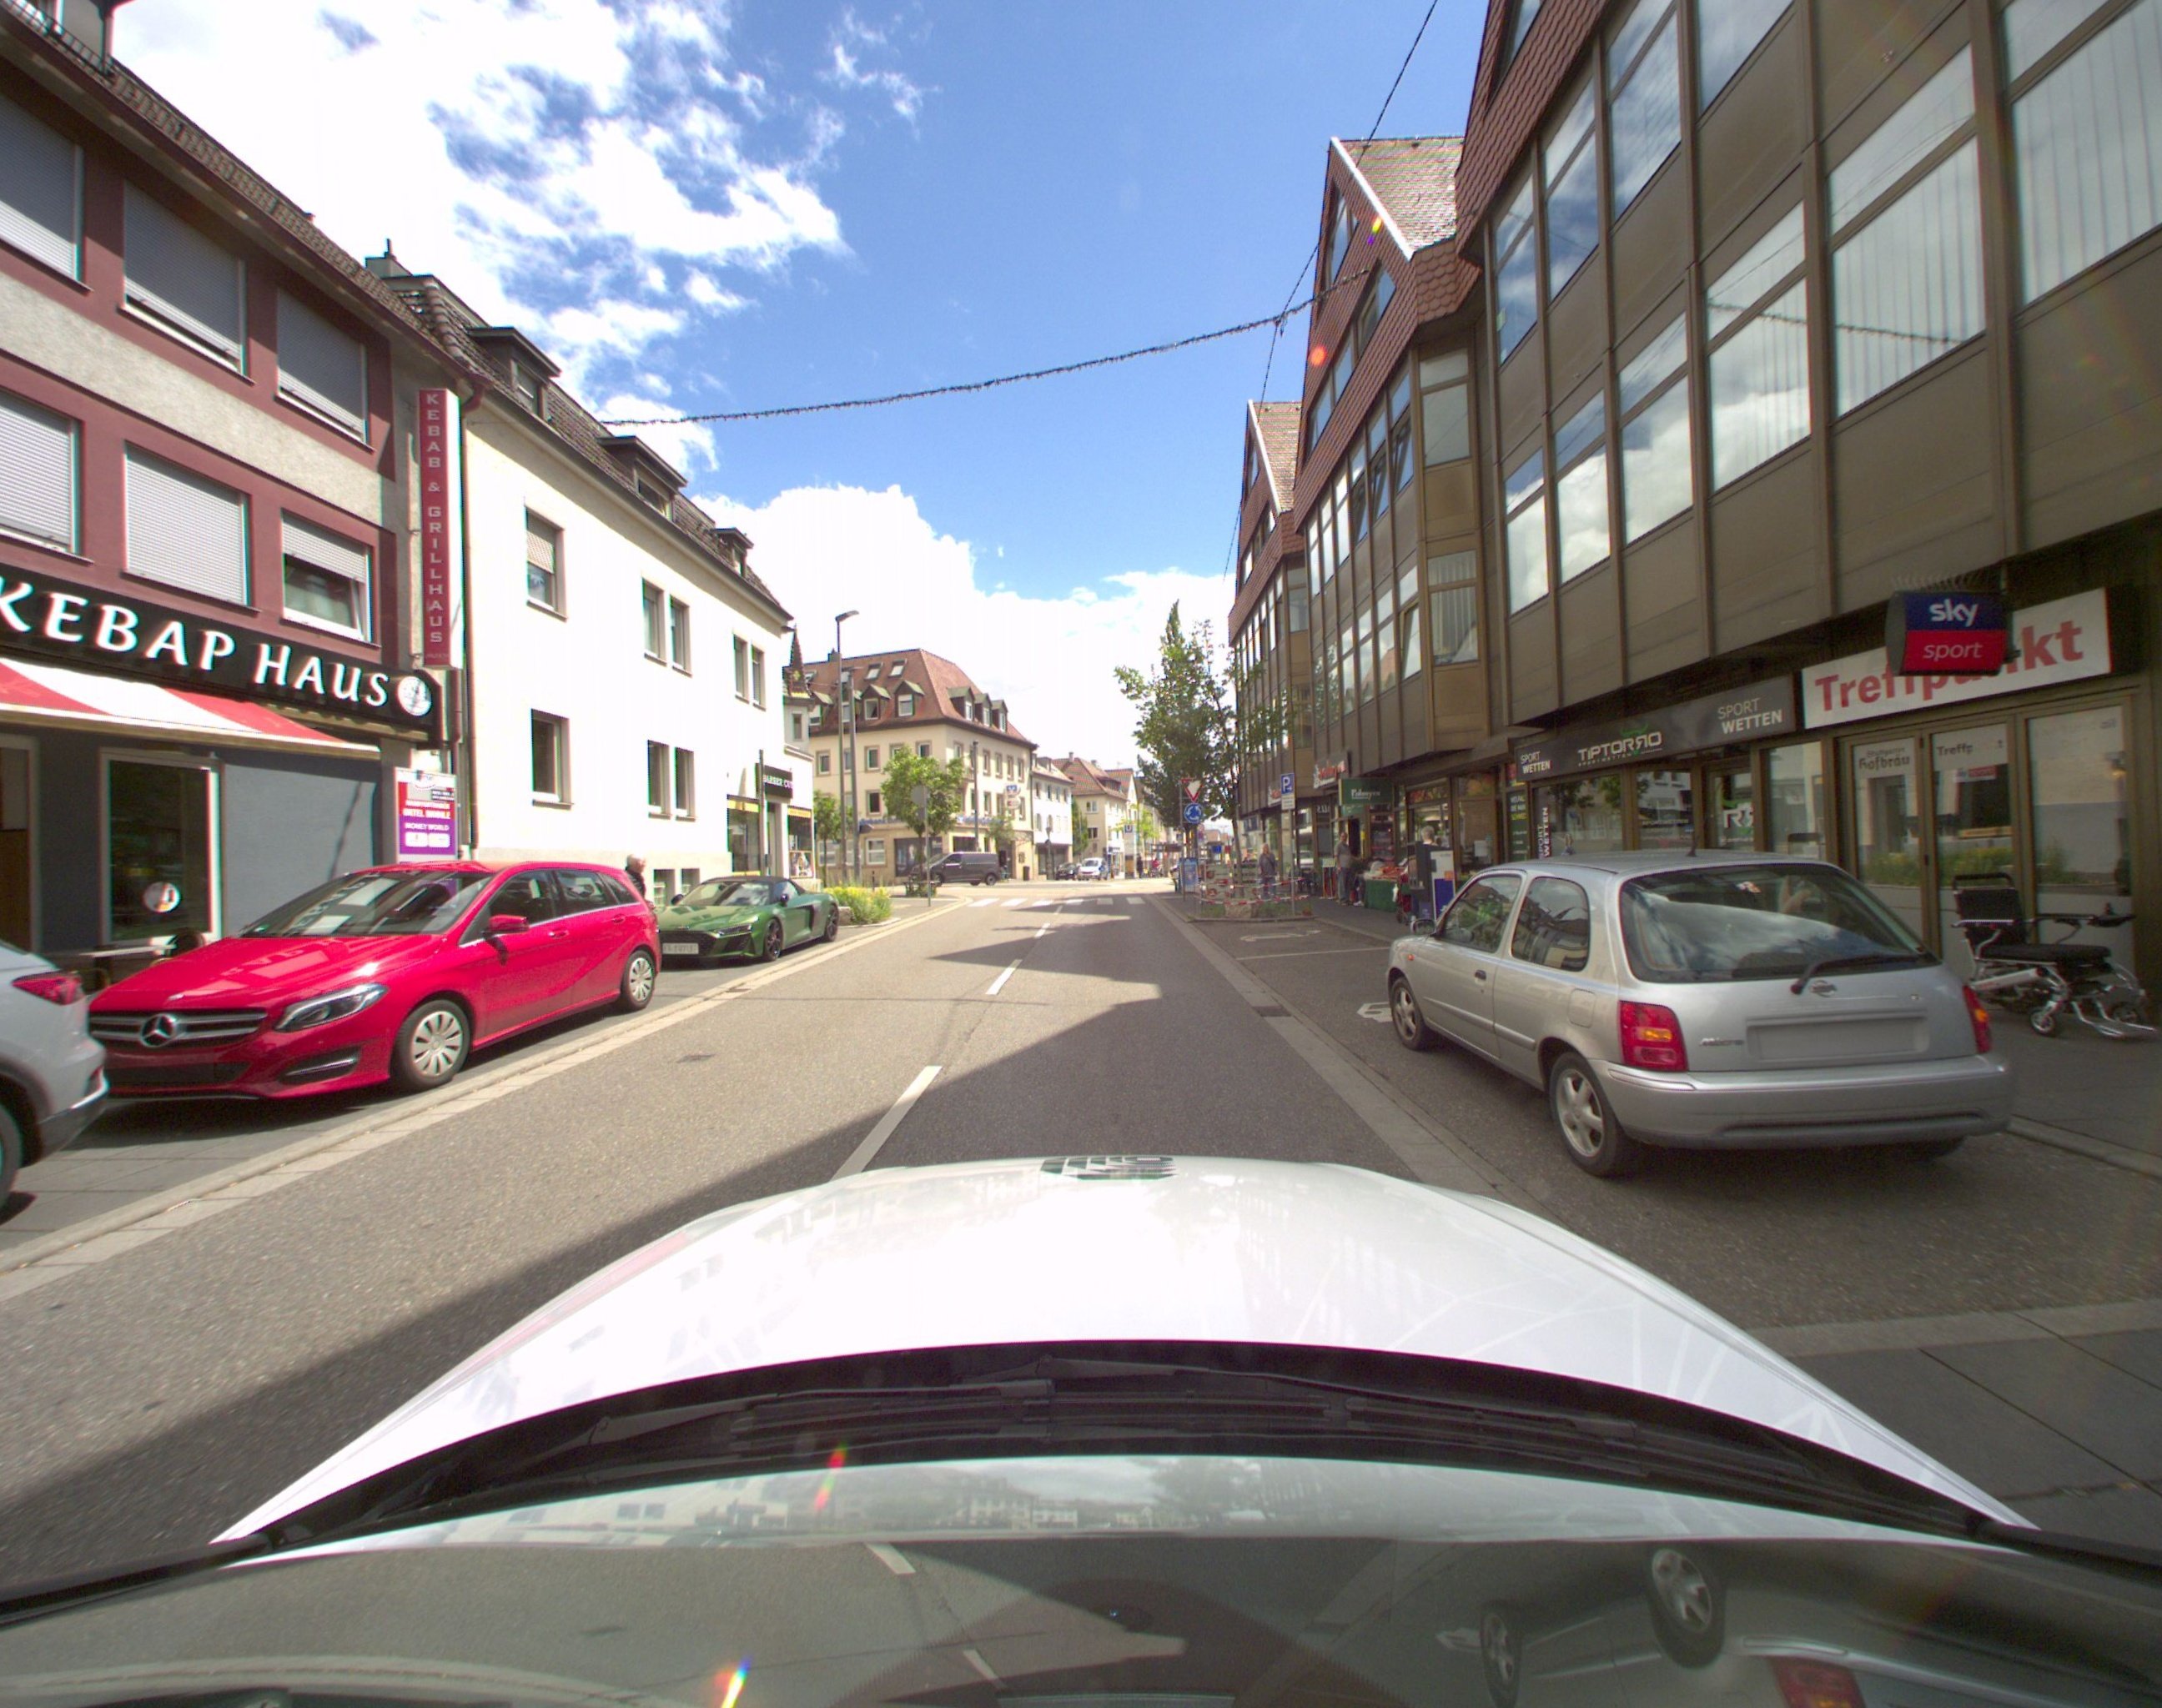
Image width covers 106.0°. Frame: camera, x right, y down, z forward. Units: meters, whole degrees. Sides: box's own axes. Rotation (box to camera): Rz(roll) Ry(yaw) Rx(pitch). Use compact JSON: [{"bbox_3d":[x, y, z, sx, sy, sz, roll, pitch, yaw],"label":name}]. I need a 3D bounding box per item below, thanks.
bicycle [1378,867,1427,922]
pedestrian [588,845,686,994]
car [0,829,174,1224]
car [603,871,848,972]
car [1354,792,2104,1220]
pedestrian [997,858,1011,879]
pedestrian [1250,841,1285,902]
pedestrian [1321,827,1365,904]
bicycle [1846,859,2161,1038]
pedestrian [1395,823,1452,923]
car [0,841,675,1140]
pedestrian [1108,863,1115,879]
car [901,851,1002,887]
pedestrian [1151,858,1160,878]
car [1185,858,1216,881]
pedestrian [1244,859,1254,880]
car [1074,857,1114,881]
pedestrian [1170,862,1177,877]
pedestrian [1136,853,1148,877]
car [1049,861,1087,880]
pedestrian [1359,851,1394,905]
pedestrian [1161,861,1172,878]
[{"bbox_3d":[5.832,0.723,14.797,0.604,0.979,0.555,0,-1,-22],"label":"bicycle"},{"bbox_3d":[-5.132,0.736,9.461,0.683,1.648,0.780,-1,-1,3],"label":"pedestrian"},{"bbox_3d":[-5.290,0.731,1.741,1.794,1.604,4.350,-2,0,-1],"label":"car"},{"bbox_3d":[-5.326,0.940,12.971,1.812,1.223,4.525,0,0,1],"label":"car"},{"bbox_3d":[3.082,0.581,4.992,1.603,1.495,3.798,-5,0,3],"label":"car"},{"bbox_3d":[-5.599,1.056,59.381,0.620,1.532,0.864,-1,-1,25],"label":"pedestrian"},{"bbox_3d":[5.051,0.471,22.089,0.781,1.615,0.800,-1,-1,1],"label":"pedestrian"},{"bbox_3d":[6.517,0.284,20.278,0.734,1.814,0.712,-4,-1,1],"label":"pedestrian"},{"bbox_3d":[6.250,0.565,5.538,0.717,1.047,1.477,-1,-1,2],"label":"bicycle"},{"bbox_3d":[6.010,0.324,14.304,0.658,1.706,0.642,0,-1,-21],"label":"pedestrian"},{"bbox_3d":[-5.275,0.762,6.694,1.795,1.604,4.215,-2,0,-2],"label":"car"},{"bbox_3d":[3.216,1.812,86.055,0.692,1.610,0.642,0,-1,-8],"label":"pedestrian"},{"bbox_3d":[-6.977,0.809,44.159,5.021,1.848,2.025,0,-1,-37],"label":"car"},{"bbox_3d":[6.411,1.197,69.990,0.722,1.764,0.751,-1,-1,12],"label":"pedestrian"},{"bbox_3d":[8.424,1.061,57.231,1.685,1.530,3.485,-1,-1,15],"label":"car"},{"bbox_3d":[13.846,1.251,67.138,0.619,1.690,0.652,-1,-1,1],"label":"pedestrian"},{"bbox_3d":[0.982,1.109,59.497,1.979,1.689,4.015,-1,-1,14],"label":"car"},{"bbox_3d":[8.015,1.348,70.494,0.588,1.316,0.592,-1,-1,7],"label":"pedestrian"},{"bbox_3d":[4.319,0.787,57.757,0.865,1.708,0.531,-1,-1,4],"label":"pedestrian"},{"bbox_3d":[-0.997,1.304,64.324,1.979,1.453,4.016,-1,-1,15],"label":"car"},{"bbox_3d":[6.954,0.565,19.199,0.618,1.253,0.614,-1,-1,4],"label":"pedestrian"},{"bbox_3d":[8.053,1.465,76.883,0.720,1.579,0.753,-1,-1,33],"label":"pedestrian"}]
